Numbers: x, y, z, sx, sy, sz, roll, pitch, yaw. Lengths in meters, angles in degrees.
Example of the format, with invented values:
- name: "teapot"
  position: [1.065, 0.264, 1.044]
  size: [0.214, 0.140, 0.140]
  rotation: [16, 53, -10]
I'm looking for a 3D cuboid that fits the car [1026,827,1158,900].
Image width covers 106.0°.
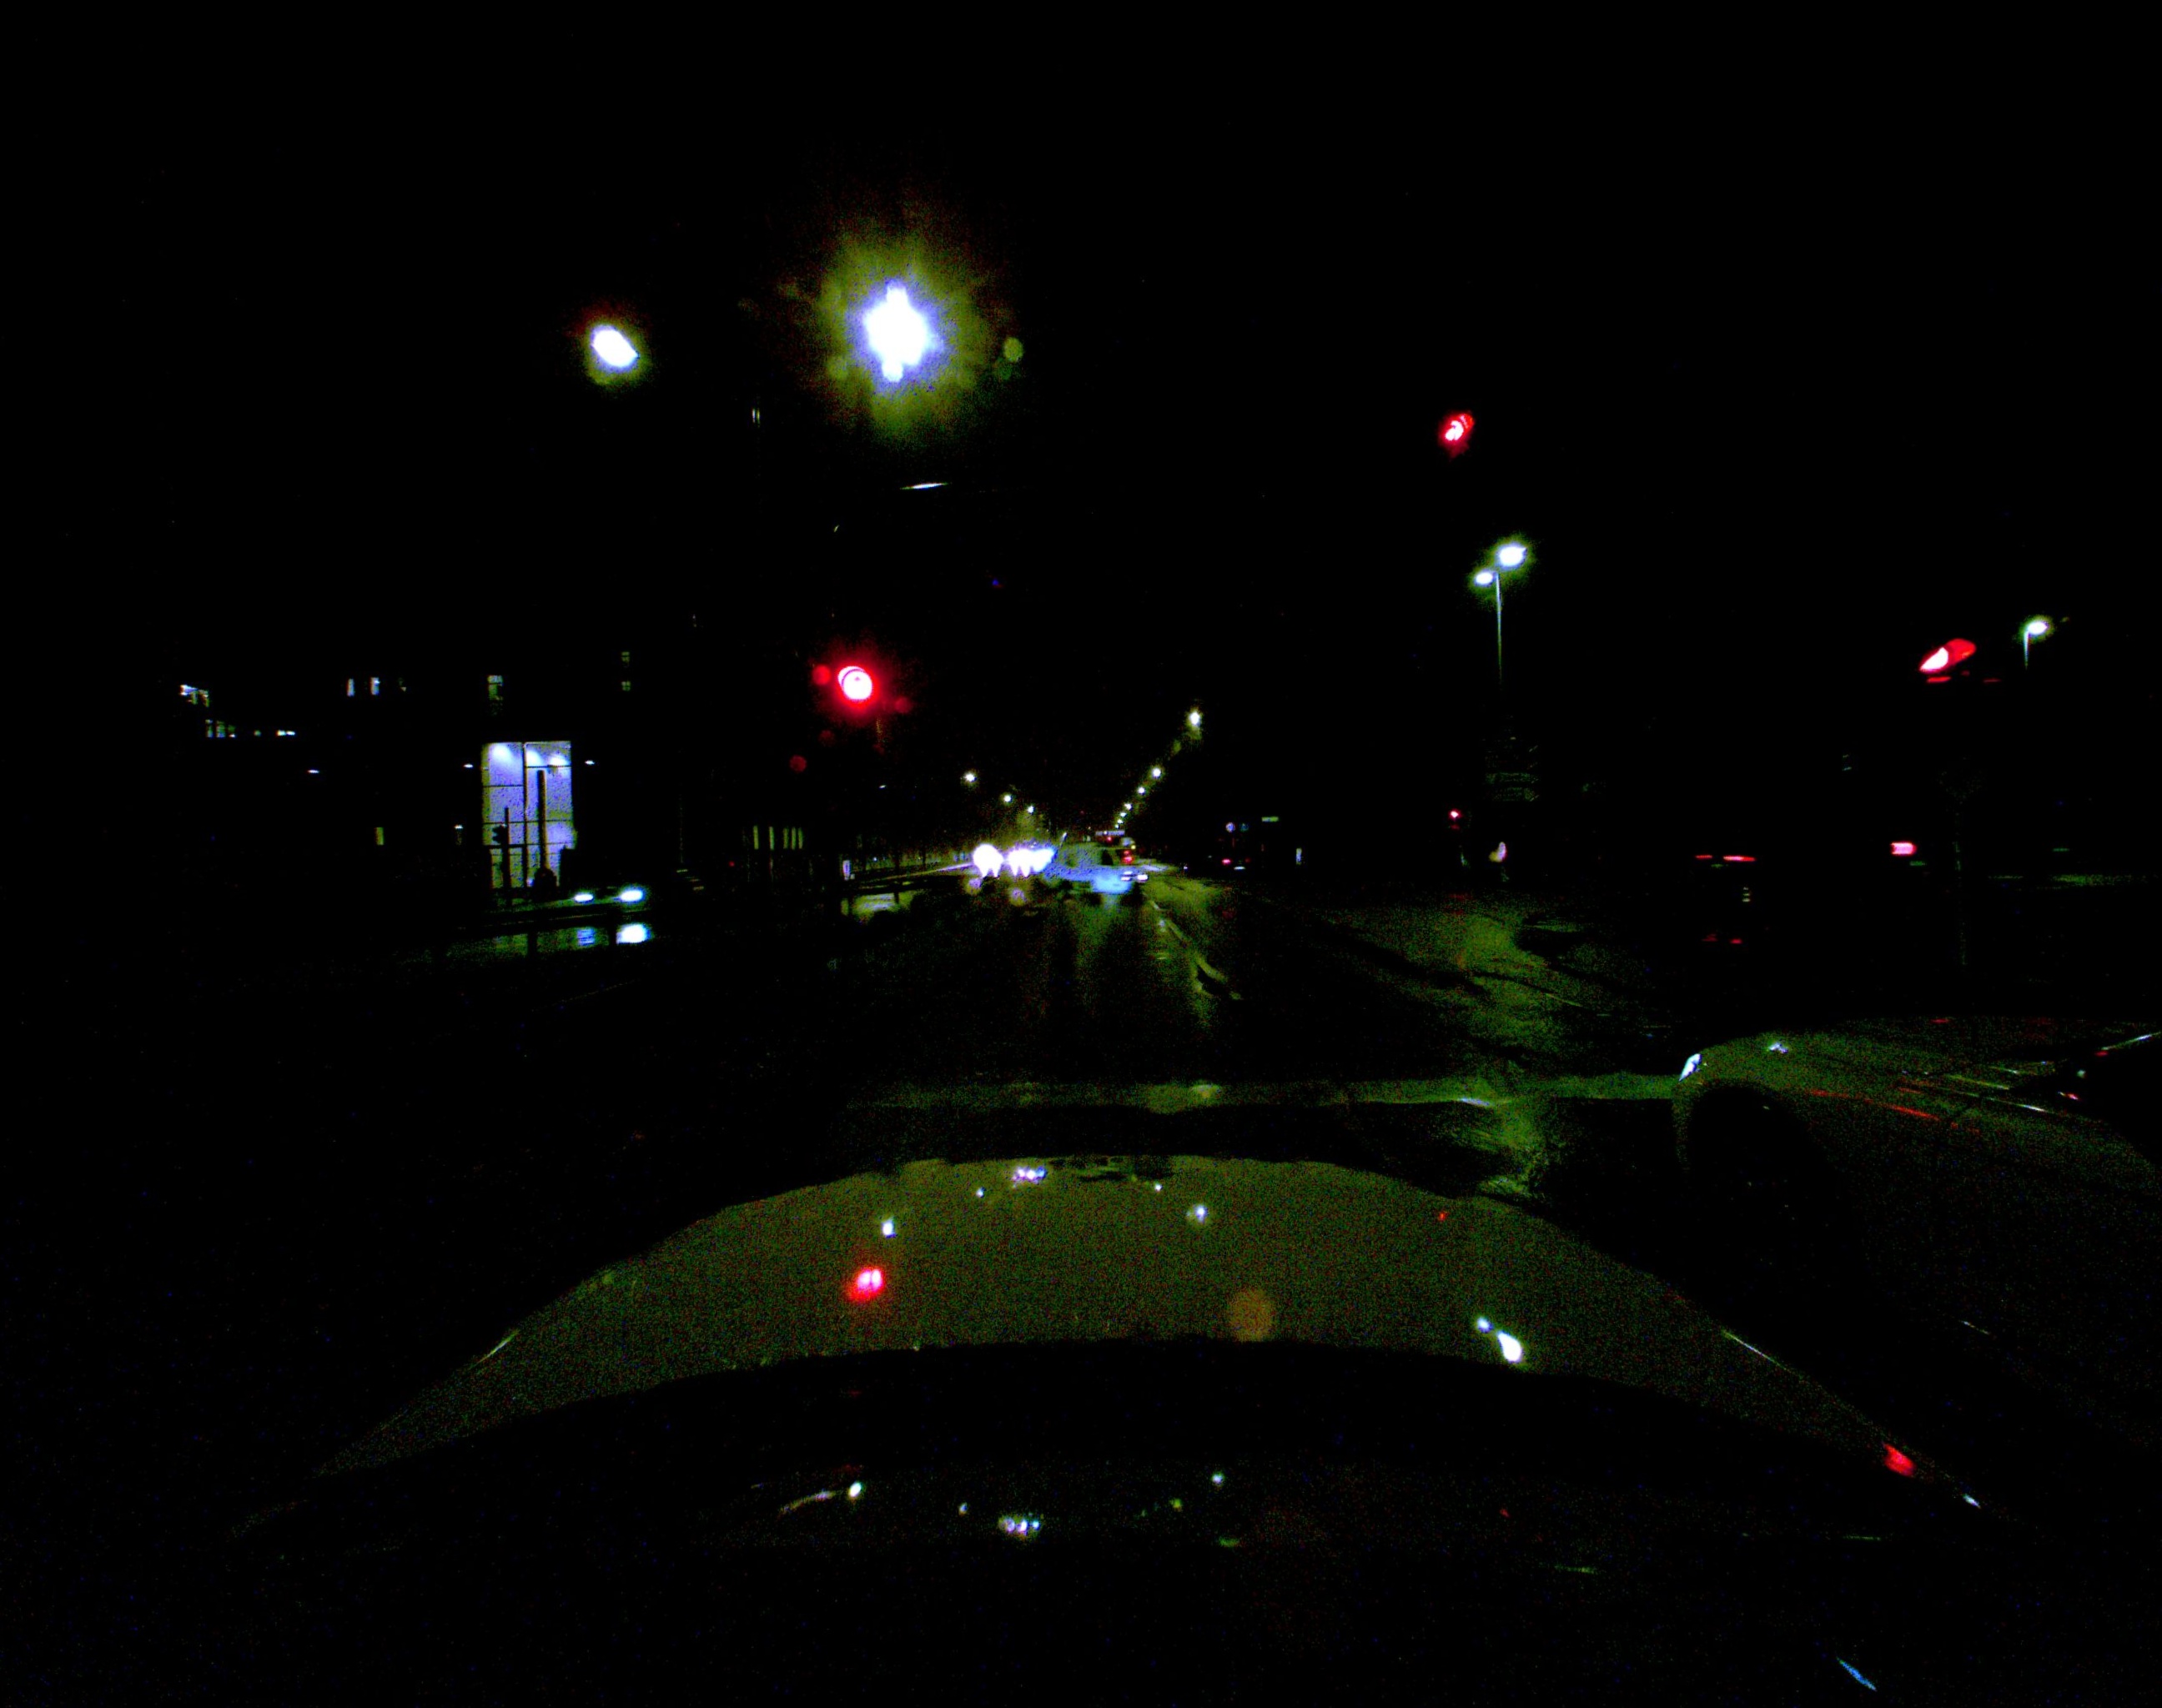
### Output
- name: "car"
  position: [0.305, 0.301, 24.001]
  size: [3.521, 2.014, 1.715]
  rotation: [-2, -1, 36]

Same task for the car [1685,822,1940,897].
- name: "car"
  position: [17.779, 0.133, 19.977]
  size: [4.384, 1.672, 1.960]
  rotation: [-1, -1, 3]

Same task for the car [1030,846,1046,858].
- name: "car"
  position: [-6.138, -0.247, 117.601]
  size: [1.878, 1.552, 4.435]
  rotation: [-1, -1, 2]

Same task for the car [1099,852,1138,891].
- name: "car"
  position: [2.042, 0.963, 44.923]
  size: [1.986, 2.014, 4.001]
  rotation: [-1, -1, 2]

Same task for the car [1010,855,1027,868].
- name: "car"
  position: [-9.122, 1.081, 119.002]
  size: [1.743, 1.709, 4.502]
  rotation: [-3, -1, 3]

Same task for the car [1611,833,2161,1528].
- name: "car"
  position: [3.125, 0.672, 1.277]
  size: [1.714, 1.446, 4.383]
  rotation: [-3, -1, 1]

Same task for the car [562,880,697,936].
- name: "car"
  position: [-13.695, 1.595, 25.003]
  size: [1.817, 1.464, 4.001]
  rotation: [-1, -1, 2]

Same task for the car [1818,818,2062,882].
- name: "car"
  position: [23.519, -0.083, 22.470]
  size: [4.477, 1.618, 1.911]
  rotation: [-1, -1, 5]

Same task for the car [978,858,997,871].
- name: "car"
  position: [-11.911, 1.366, 103.762]
  size: [1.794, 1.564, 4.001]
  rotation: [-1, -1, 2]

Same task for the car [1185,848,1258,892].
- name: "car"
  position: [7.347, 0.820, 42.979]
  size: [2.217, 2.215, 3.616]
  rotation: [-1, -1, -22]

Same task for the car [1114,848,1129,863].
- name: "car"
  position: [5.630, 0.245, 112.338]
  size: [2.030, 2.014, 4.310]
  rotation: [-1, -1, 3]
